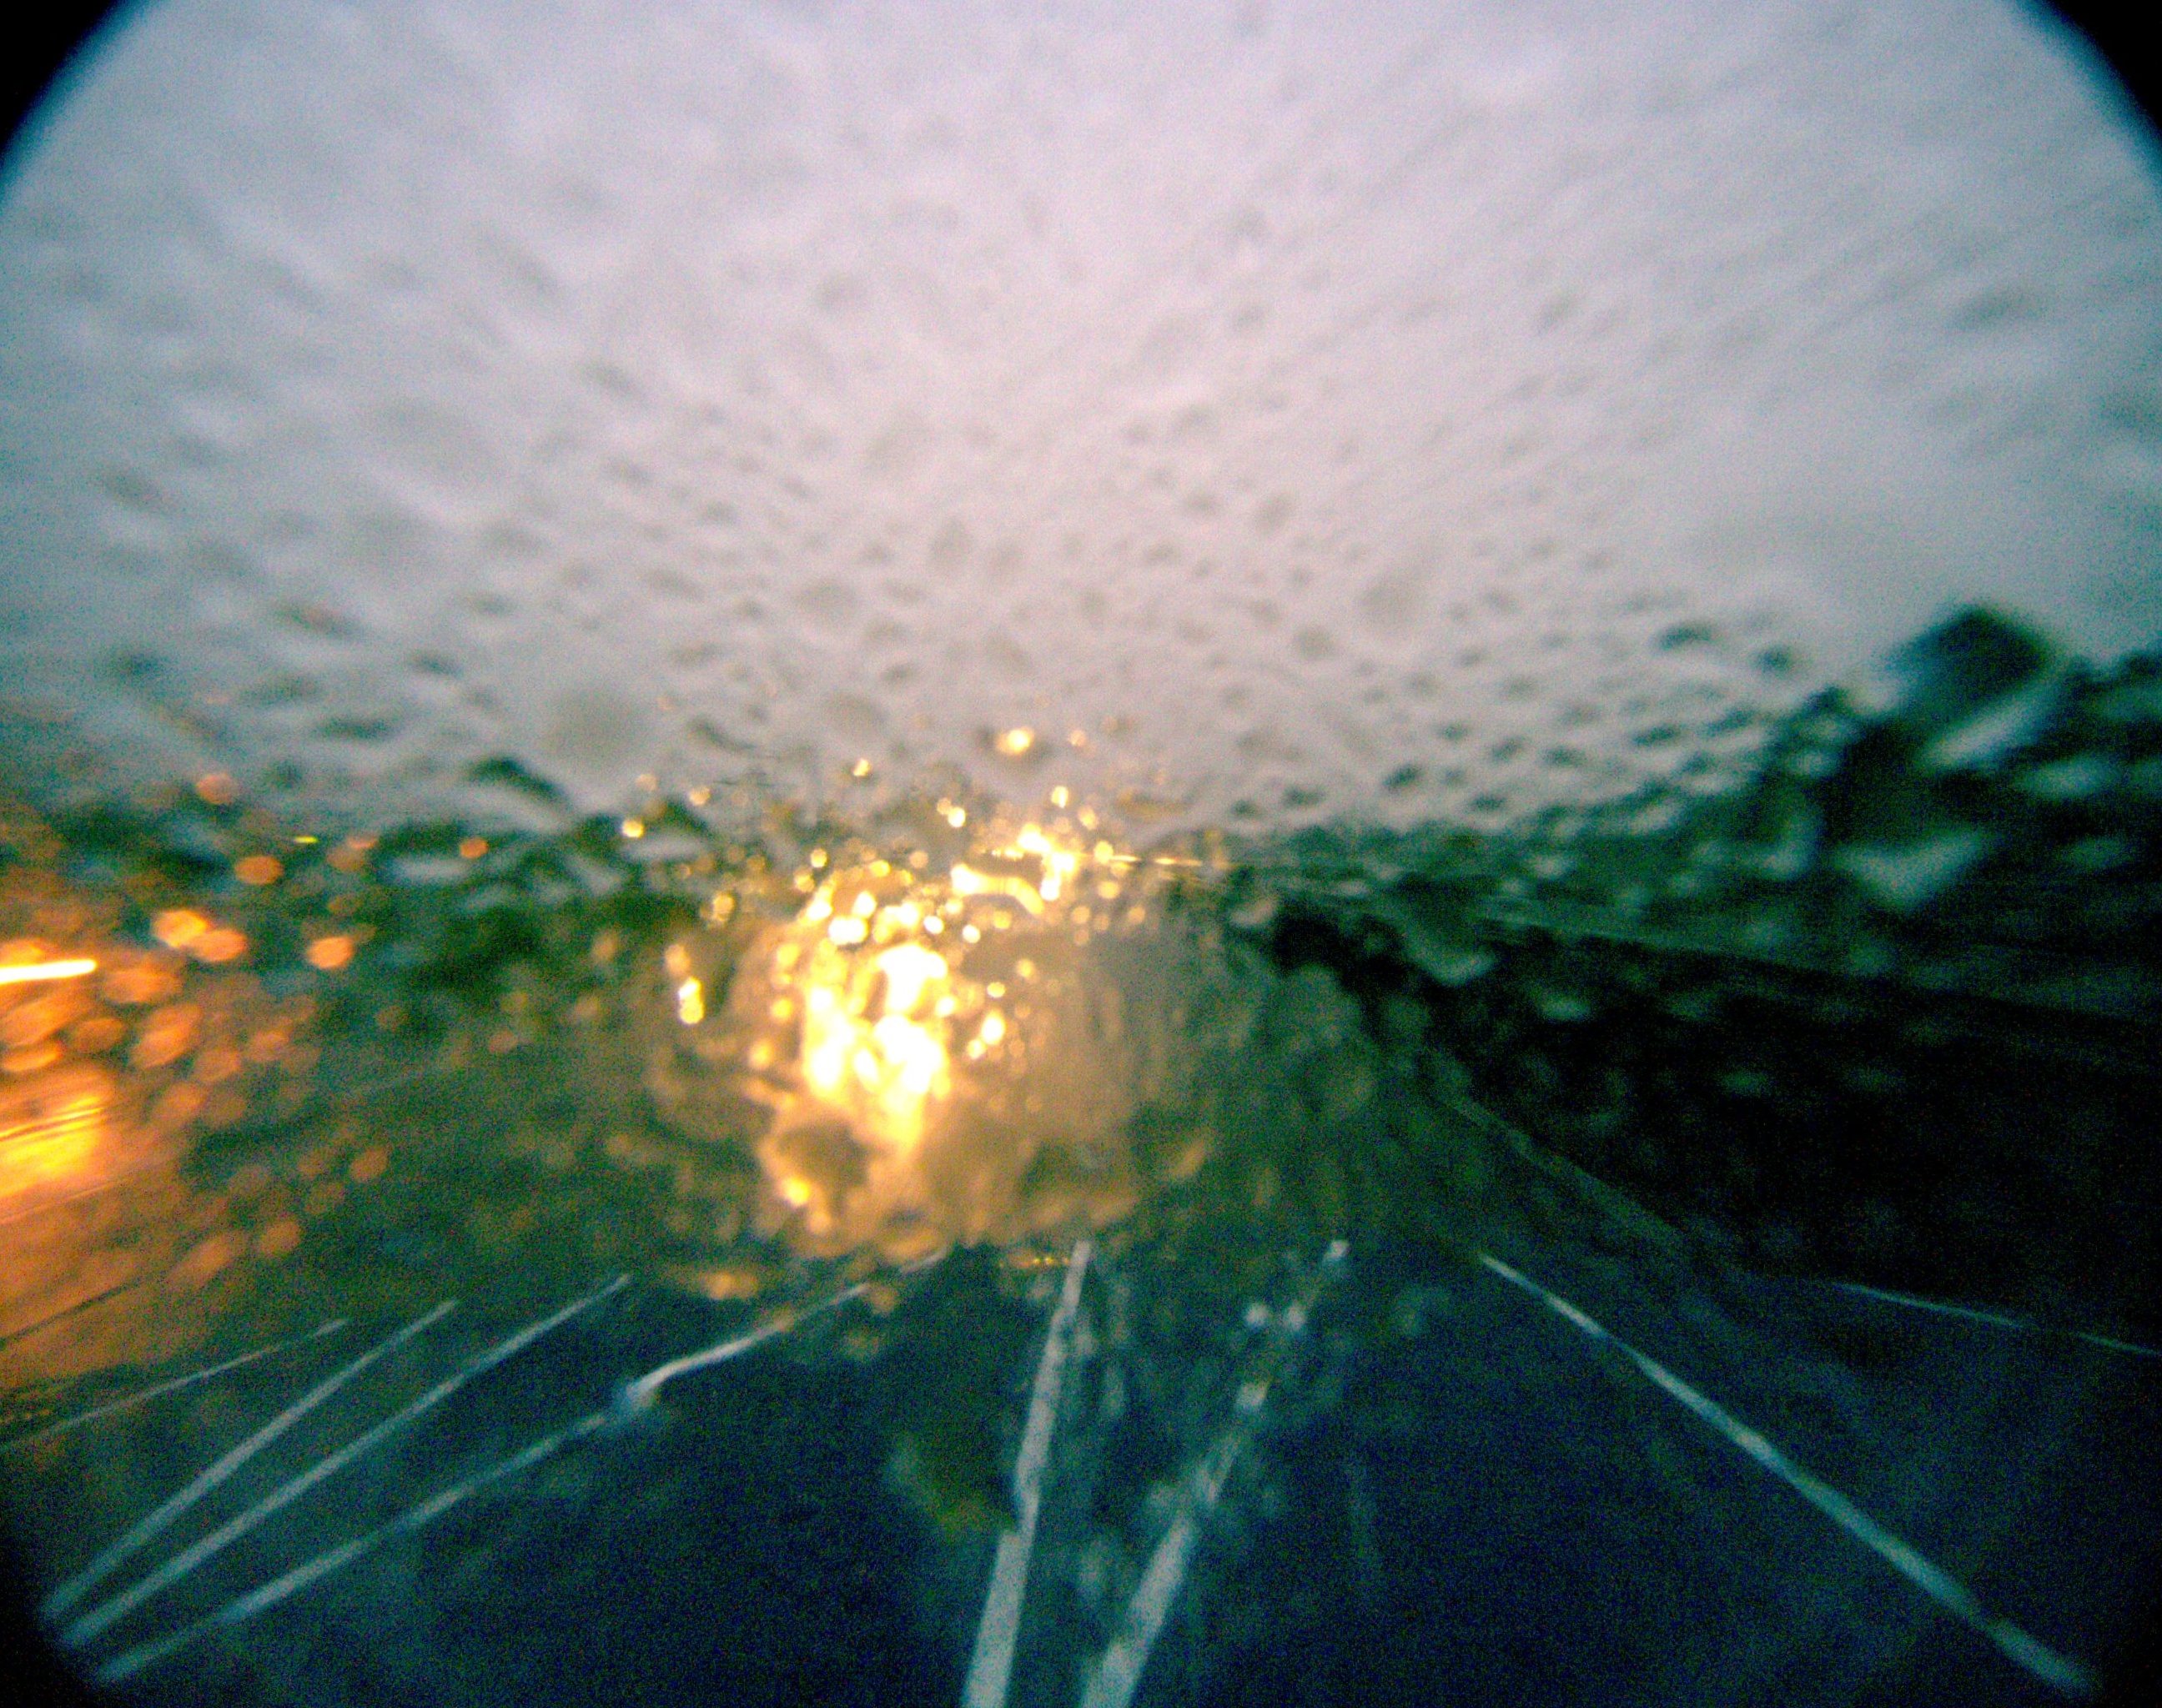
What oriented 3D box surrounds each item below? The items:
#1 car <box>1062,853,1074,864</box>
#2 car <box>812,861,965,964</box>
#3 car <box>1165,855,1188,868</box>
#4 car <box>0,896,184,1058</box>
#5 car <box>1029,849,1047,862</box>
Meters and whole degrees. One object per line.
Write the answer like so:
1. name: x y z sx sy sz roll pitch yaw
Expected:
1. car: -1.873 0.670 107.731 1.632 1.466 3.999 0 0 -3
2. car: -3.276 0.931 13.679 1.682 1.500 3.809 -1 0 1
3. car: 10.769 0.824 85.763 1.931 1.430 4.549 -1 0 -1
4. car: -12.159 1.293 8.464 1.797 1.426 3.811 -2 0 -34
5. car: -5.252 0.166 92.899 1.802 1.494 3.999 -5 1 0
